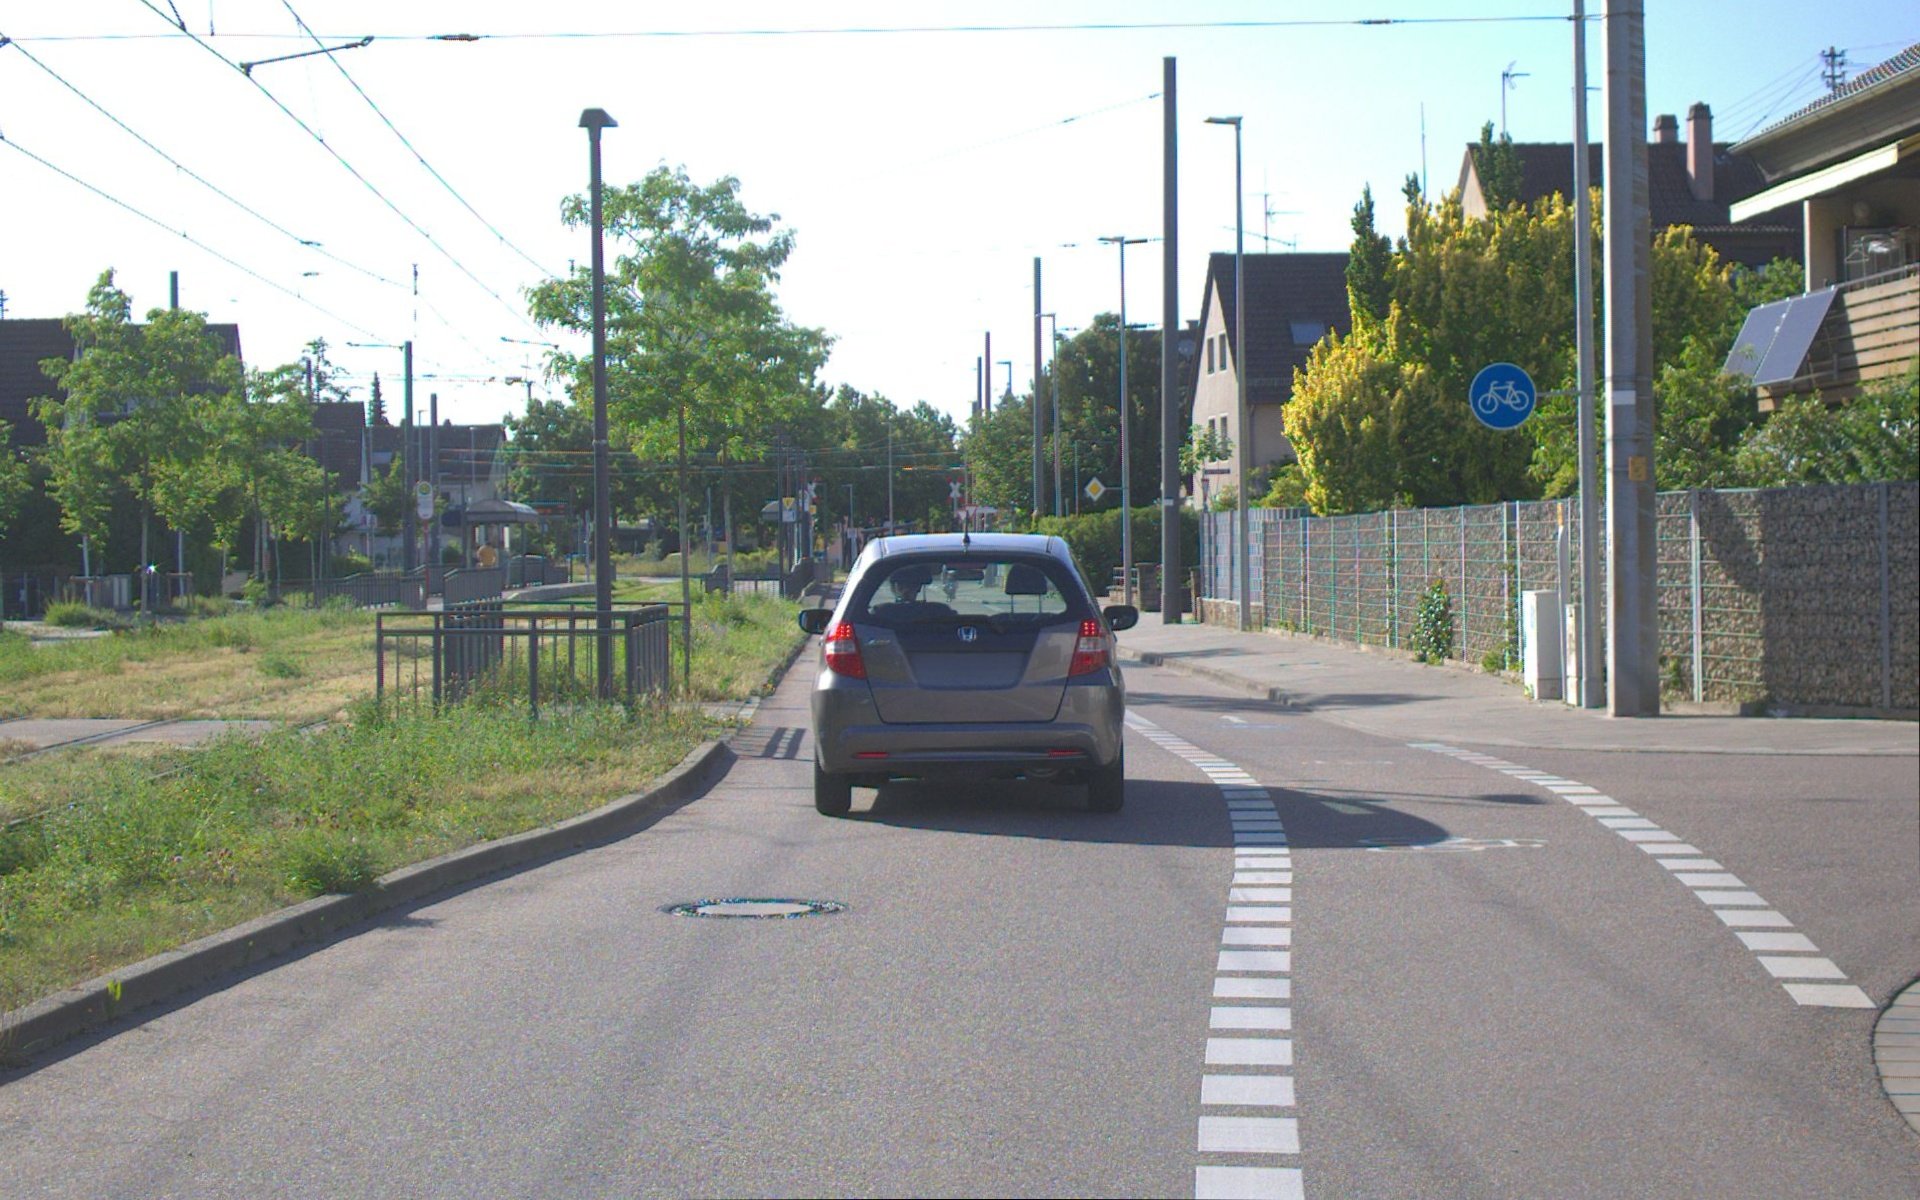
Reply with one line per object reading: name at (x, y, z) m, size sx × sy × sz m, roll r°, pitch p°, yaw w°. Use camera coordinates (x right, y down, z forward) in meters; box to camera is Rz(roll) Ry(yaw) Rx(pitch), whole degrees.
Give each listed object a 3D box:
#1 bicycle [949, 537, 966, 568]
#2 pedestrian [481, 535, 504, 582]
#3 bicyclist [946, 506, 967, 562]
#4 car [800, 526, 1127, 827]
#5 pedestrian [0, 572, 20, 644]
bicycle at (-0.067, -1.457, 105.685) m, size 0.475 × 0.958 × 1.657 m, roll 1°, pitch 0°, yaw -1°
pedestrian at (-15.083, -1.343, 110.970) m, size 0.675 × 1.530 × 0.749 m, roll -1°, pitch 1°, yaw -6°
bicyclist at (-0.111, -2.022, 105.440) m, size 0.598 × 1.695 × 0.683 m, roll 1°, pitch 0°, yaw -1°
car at (0.048, 0.366, 19.379) m, size 1.670 × 1.530 × 3.487 m, roll 0°, pitch 1°, yaw 1°
pedestrian at (-22.402, 0.188, 79.631) m, size 0.965 × 1.635 × 1.086 m, roll -1°, pitch 1°, yaw -2°
